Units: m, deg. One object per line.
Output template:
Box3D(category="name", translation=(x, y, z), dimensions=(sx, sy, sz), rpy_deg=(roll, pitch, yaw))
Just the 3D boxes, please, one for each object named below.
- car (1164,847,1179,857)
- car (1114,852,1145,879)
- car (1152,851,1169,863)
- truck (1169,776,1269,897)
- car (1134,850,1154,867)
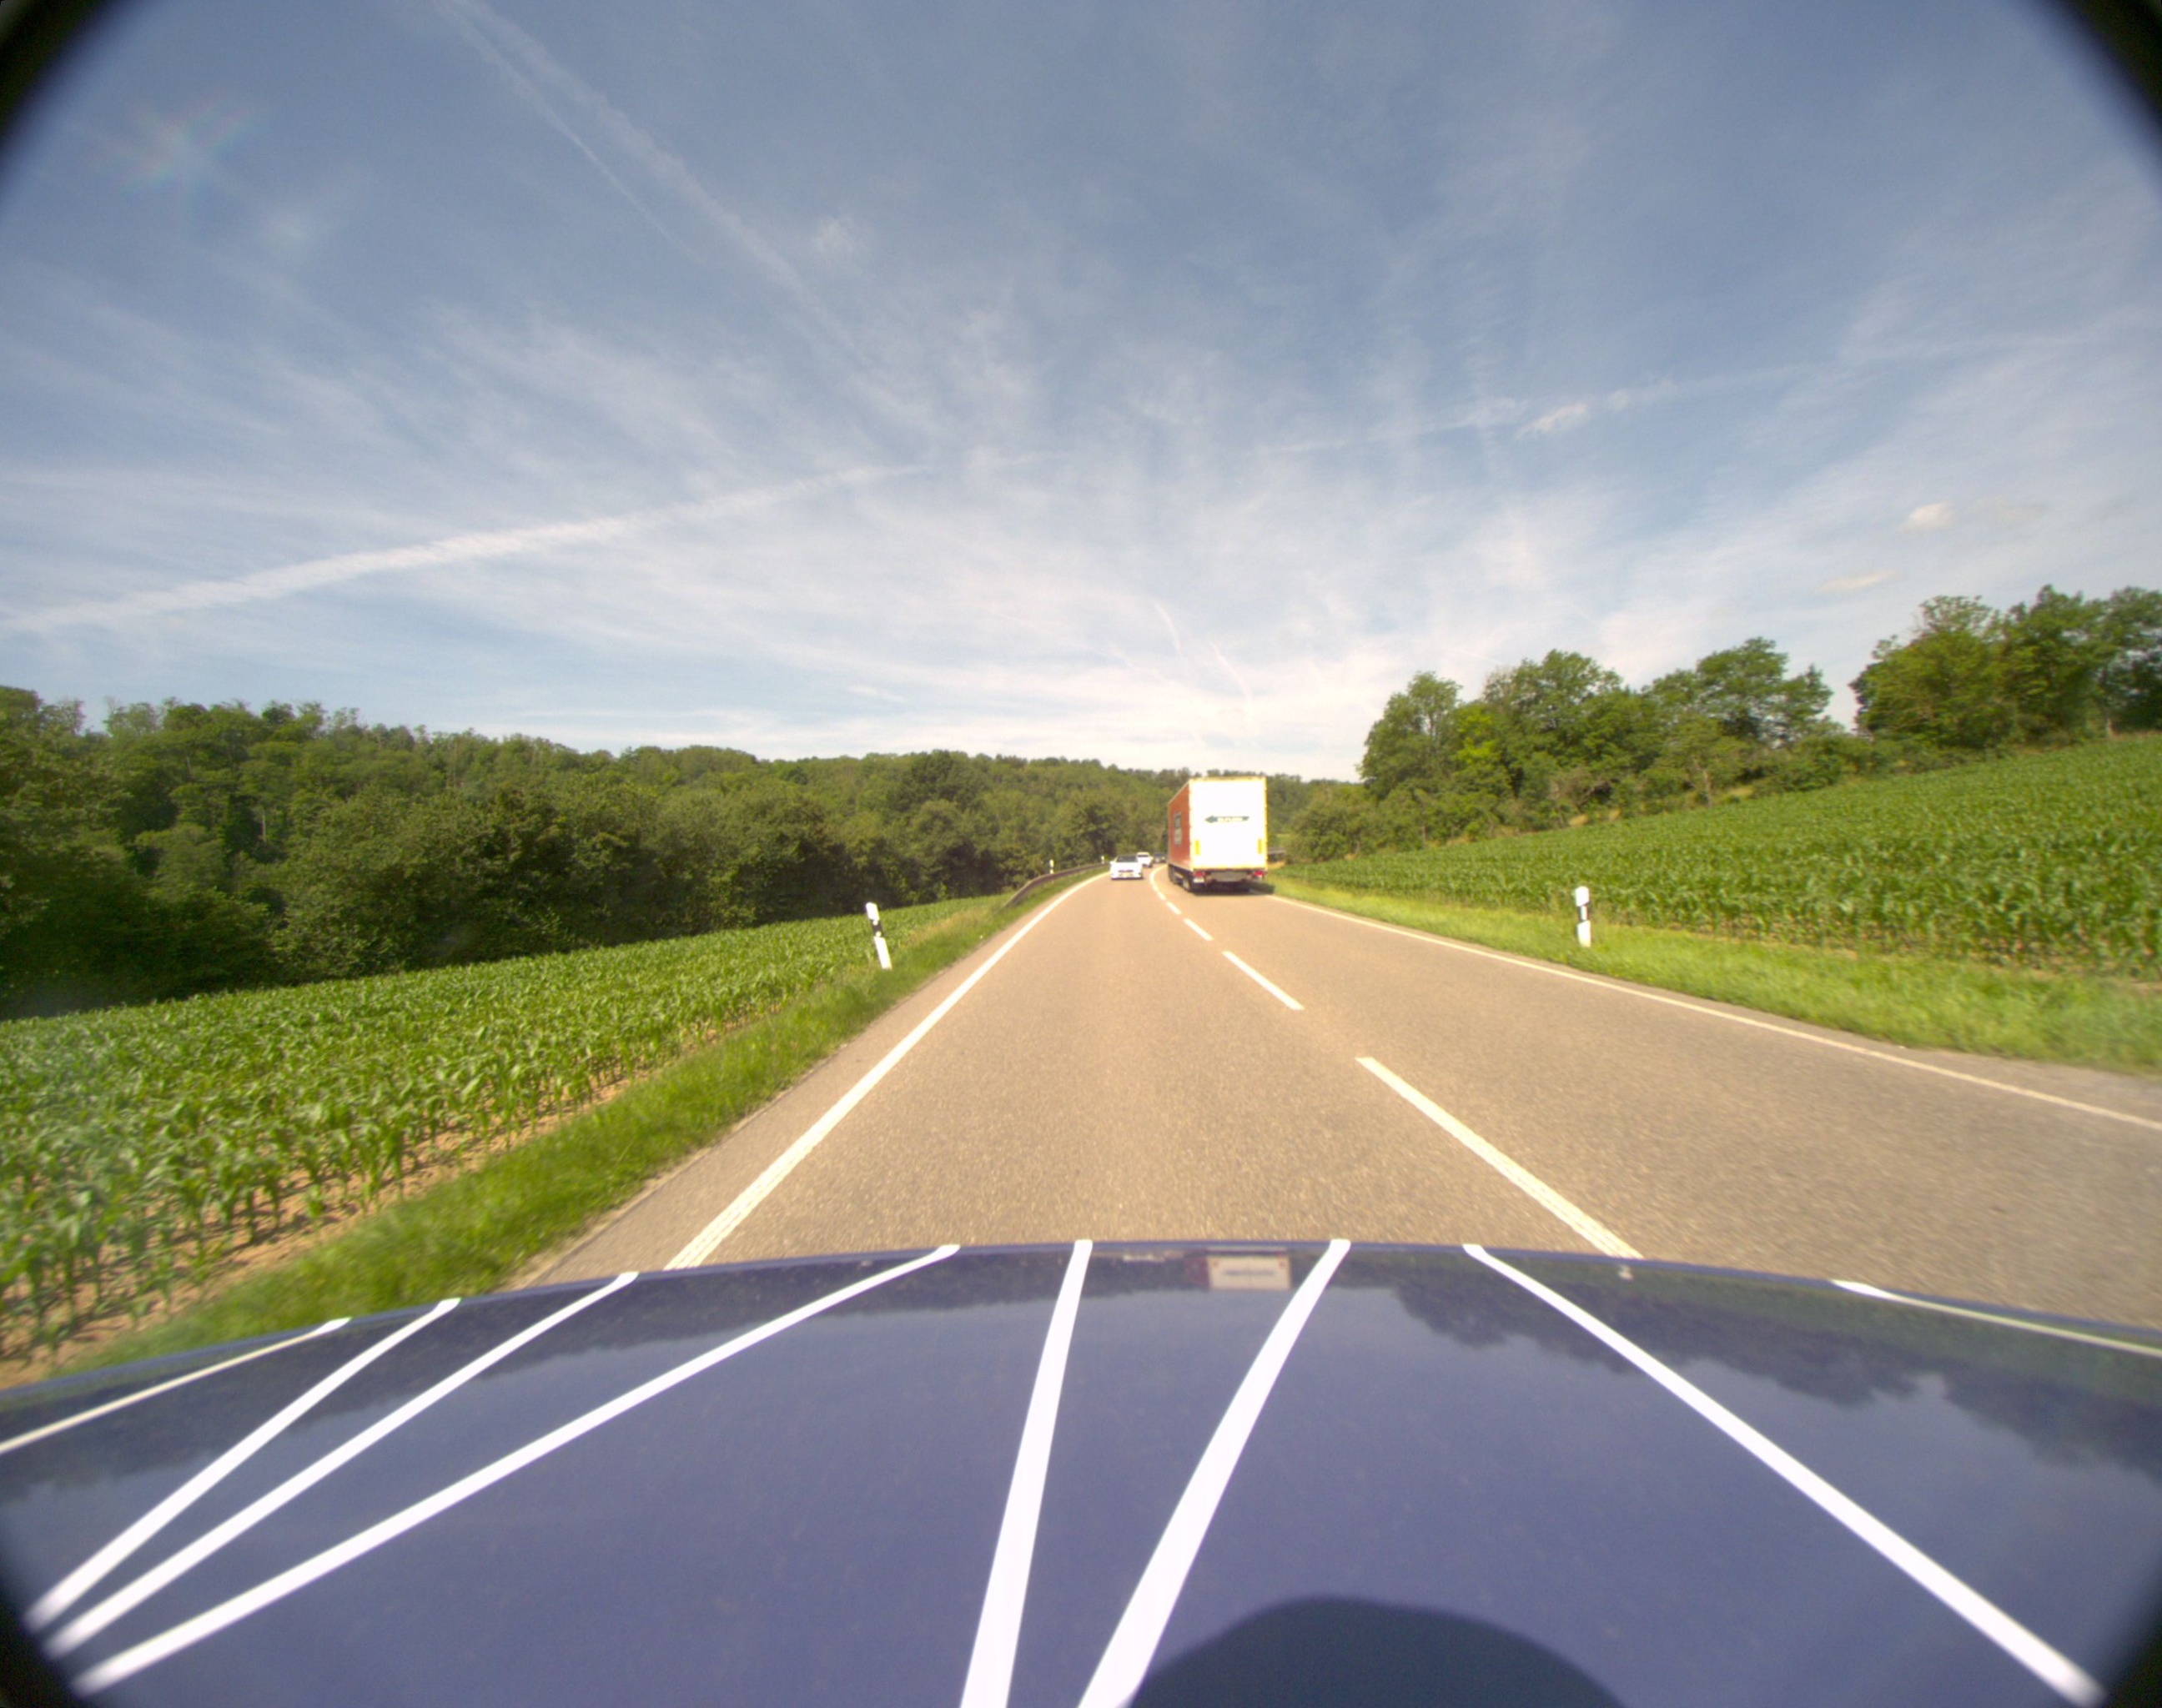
Box3D(category="car", translation=(14.644, -0.286, 122.507), dimensions=(1.741, 1.445, 4.040), rpy_deg=(-1, 1, 16))
Box3D(category="car", translation=(2.907, 0.630, 45.403), dimensions=(1.742, 1.445, 4.036), rpy_deg=(-1, 1, 4))
Box3D(category="car", translation=(10.564, 0.371, 100.936), dimensions=(1.741, 1.445, 4.039), rpy_deg=(-1, 1, 13))
Box3D(category="truck", translation=(5.615, -0.634, 33.959), dimensions=(2.777, 3.975, 17.033), rpy_deg=(-1, 0, 5))
Box3D(category="car", translation=(6.354, 0.461, 76.111), dimensions=(1.716, 1.523, 4.001), rpy_deg=(-2, 1, 7))
